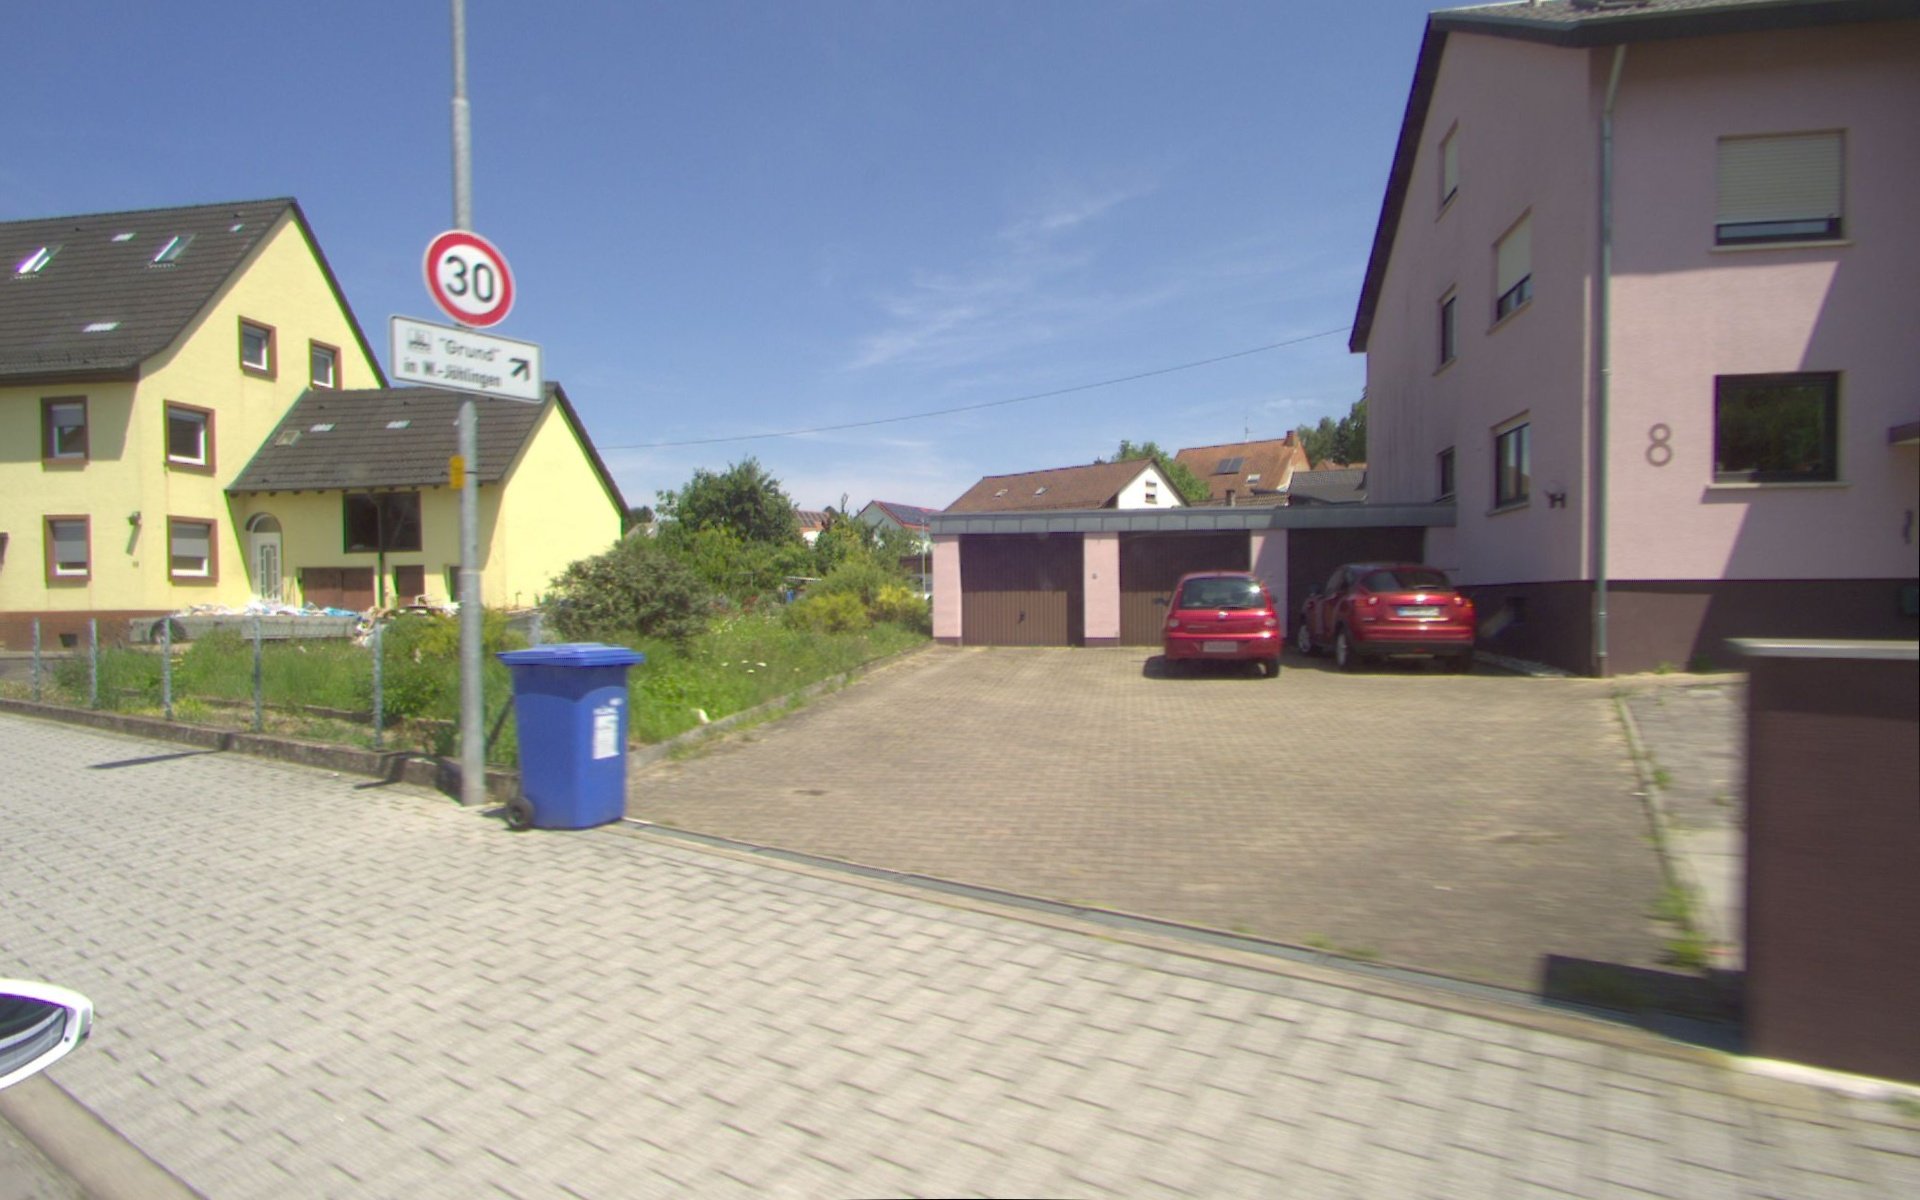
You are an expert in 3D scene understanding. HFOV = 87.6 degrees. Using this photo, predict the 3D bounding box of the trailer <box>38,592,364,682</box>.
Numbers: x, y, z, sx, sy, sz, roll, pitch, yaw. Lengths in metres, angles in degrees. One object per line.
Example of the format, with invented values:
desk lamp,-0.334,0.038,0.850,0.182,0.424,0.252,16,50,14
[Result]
trailer,-14.810,0.693,20.082,2.097,1.566,5.364,0,-1,6

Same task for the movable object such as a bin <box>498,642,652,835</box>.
movable object such as a bin,-2.307,0.798,6.036,0.639,1.071,0.565,-1,1,19

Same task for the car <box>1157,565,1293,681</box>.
car,3.867,0.273,15.077,1.728,1.506,3.833,0,1,12

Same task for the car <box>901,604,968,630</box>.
car,-1.444,0.913,55.309,1.646,1.381,3.967,0,0,-39

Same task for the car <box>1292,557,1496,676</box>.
car,6.422,0.246,15.327,1.815,1.568,4.125,0,-1,8
